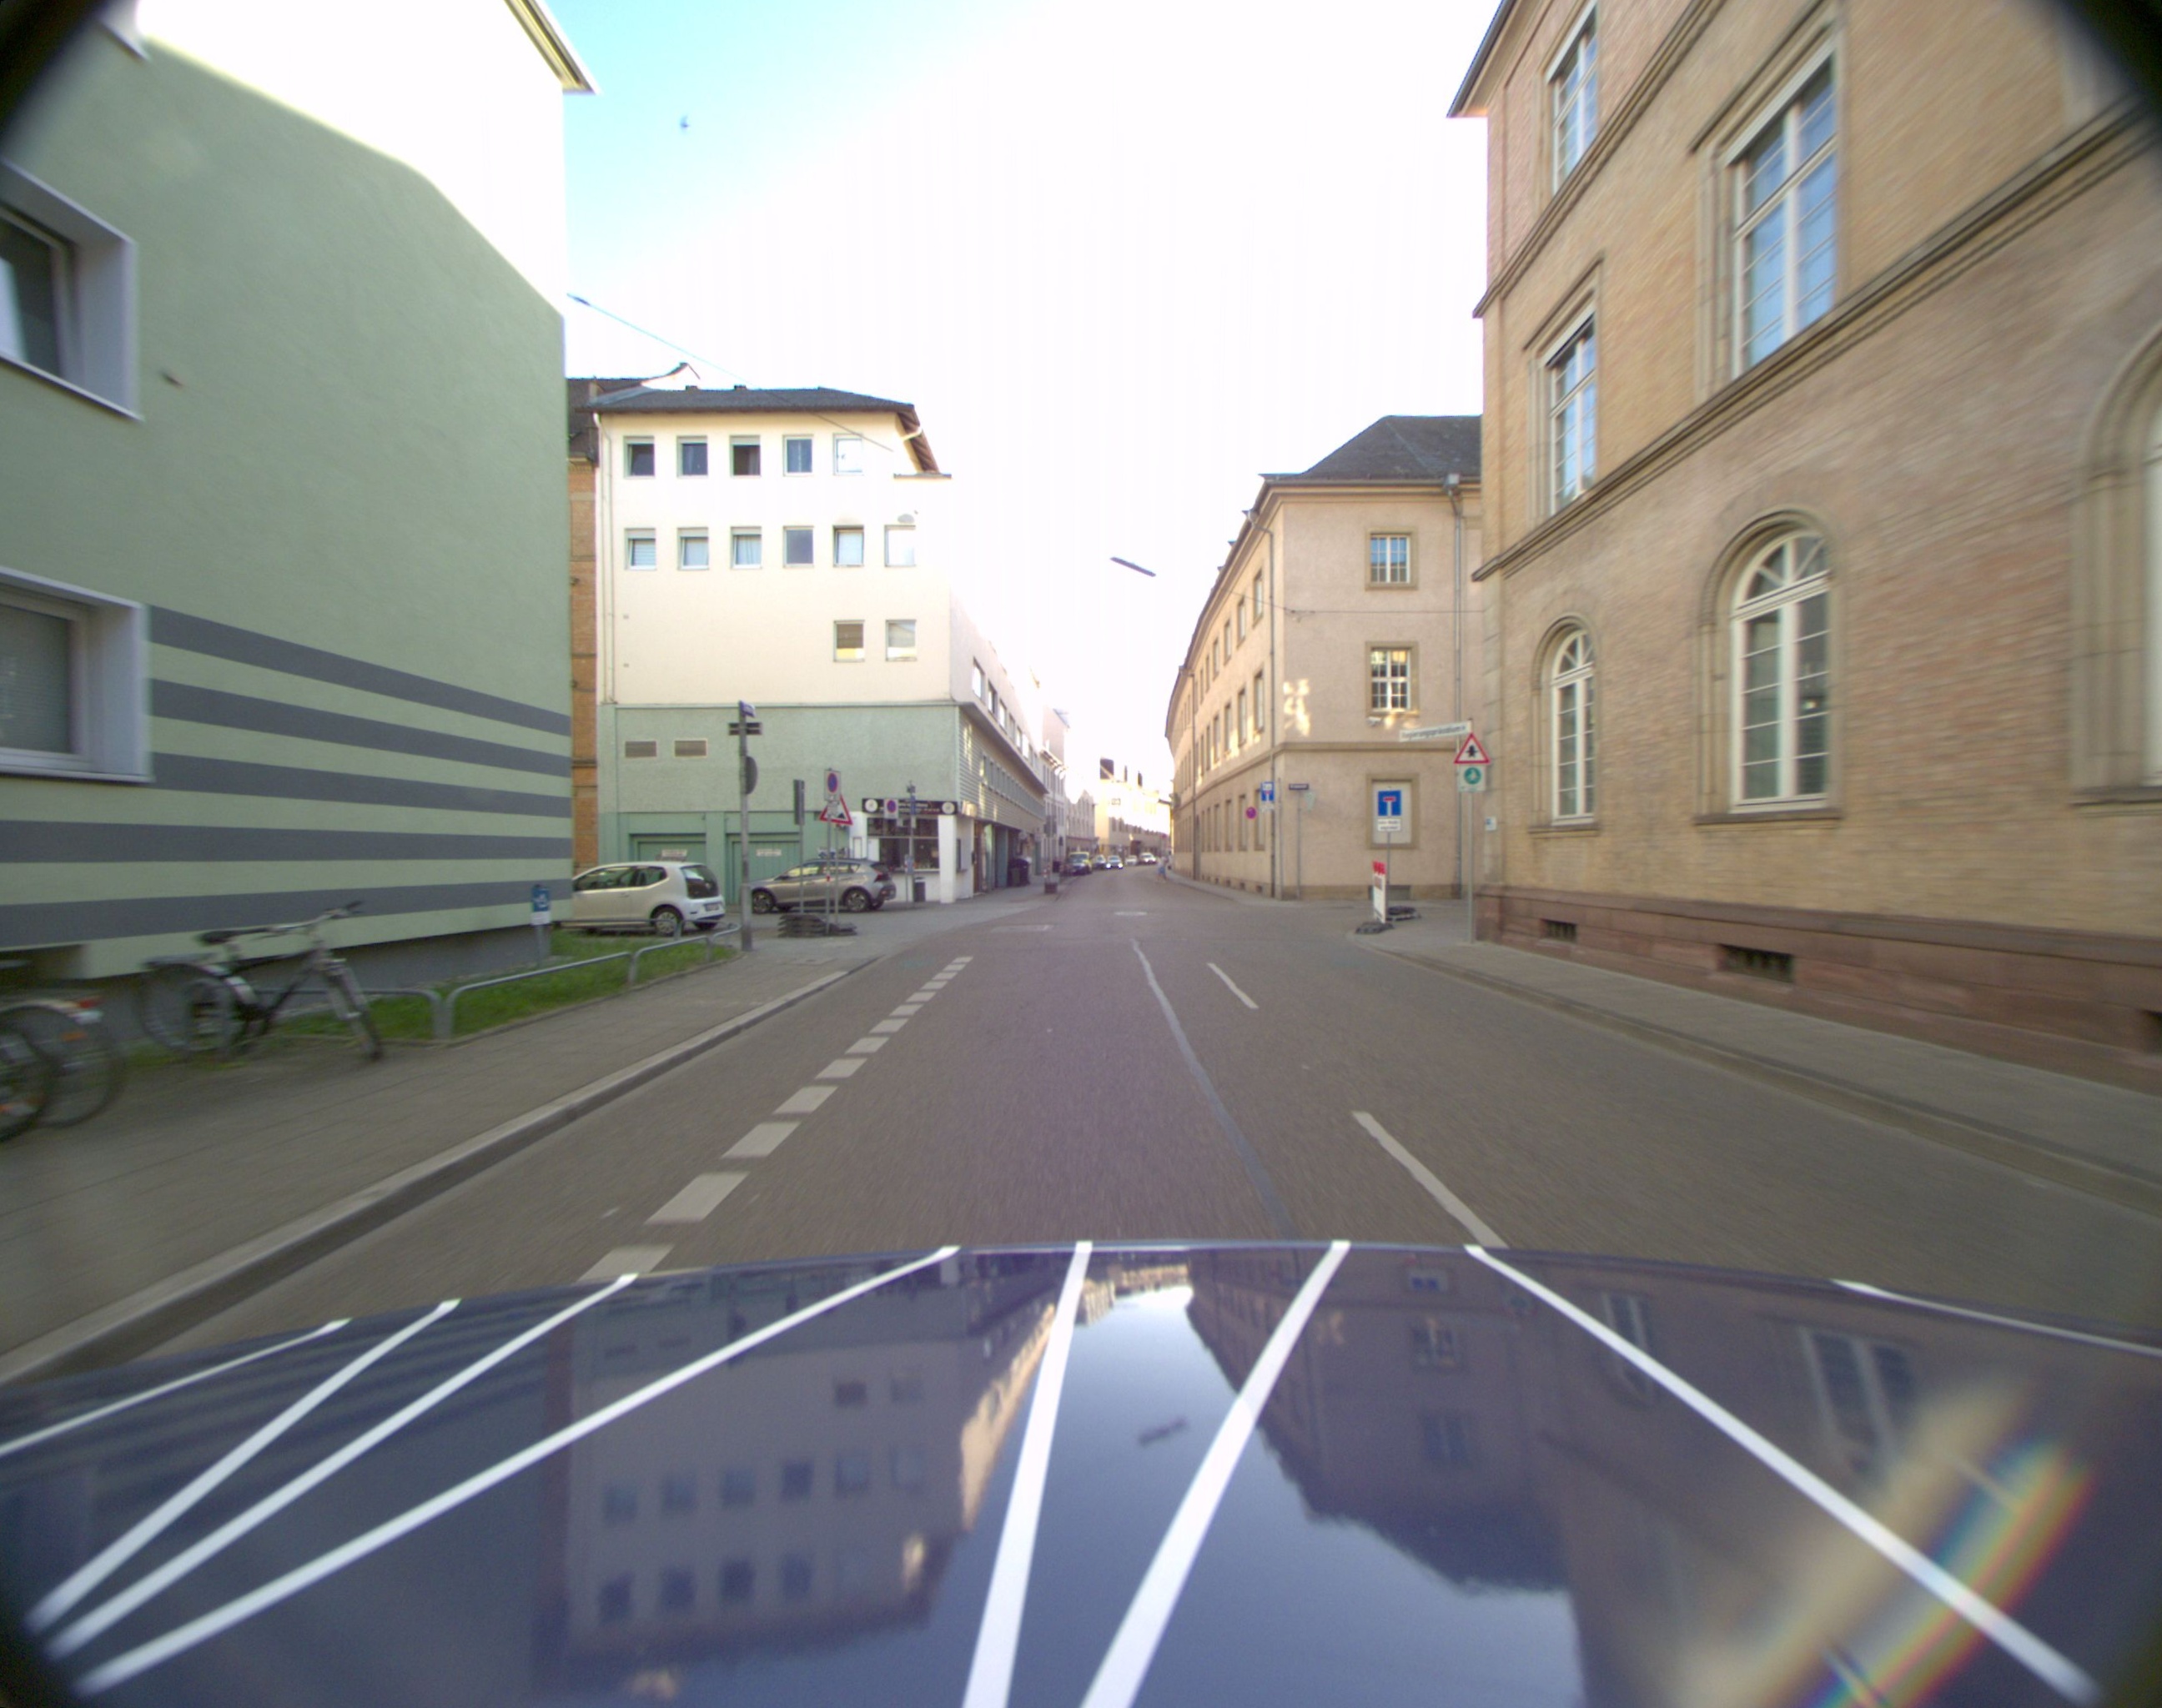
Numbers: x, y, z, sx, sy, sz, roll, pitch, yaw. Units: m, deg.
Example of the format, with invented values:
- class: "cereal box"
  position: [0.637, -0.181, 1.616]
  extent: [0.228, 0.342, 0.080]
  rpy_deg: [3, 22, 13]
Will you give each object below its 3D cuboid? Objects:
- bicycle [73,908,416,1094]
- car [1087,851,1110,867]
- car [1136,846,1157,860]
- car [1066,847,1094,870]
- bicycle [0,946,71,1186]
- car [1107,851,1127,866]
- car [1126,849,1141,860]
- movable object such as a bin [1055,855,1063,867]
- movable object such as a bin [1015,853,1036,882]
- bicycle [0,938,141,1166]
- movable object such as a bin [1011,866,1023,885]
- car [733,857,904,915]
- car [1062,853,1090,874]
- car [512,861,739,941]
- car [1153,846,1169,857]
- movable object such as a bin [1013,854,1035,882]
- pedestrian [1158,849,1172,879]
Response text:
- class: "bicycle"
  position: [-5.810, 0.998, 5.332]
  extent: [1.753, 1.135, 0.552]
  rpy_deg: [2, 0, 0]
- class: "car"
  position: [1.916, 0.508, 80.892]
  extent: [1.828, 1.645, 4.496]
  rpy_deg: [-1, 0, 9]
- class: "car"
  position: [10.103, -0.187, 116.808]
  extent: [1.945, 1.850, 5.200]
  rpy_deg: [-5, -1, 17]
- class: "car"
  position: [-0.036, 0.367, 64.486]
  extent: [1.887, 1.871, 4.847]
  rpy_deg: [-1, 0, 5]
- class: "bicycle"
  position: [-6.020, 1.017, 3.698]
  extent: [1.607, 1.135, 0.237]
  rpy_deg: [2, 1, -8]
- class: "car"
  position: [4.196, 0.507, 88.056]
  extent: [1.828, 1.550, 3.988]
  rpy_deg: [-2, 0, 8]
- class: "car"
  position: [7.743, 0.056, 111.453]
  extent: [1.734, 1.539, 4.003]
  rpy_deg: [-2, 0, 12]
- class: "movable object such as a bin"
  position: [-1.915, 0.608, 66.693]
  extent: [0.607, 1.045, 0.708]
  rpy_deg: [4, 1, 4]
- class: "movable object such as a bin"
  position: [-3.009, 0.699, 41.164]
  extent: [0.983, 1.472, 1.551]
  rpy_deg: [1, 3, 2]
- class: "bicycle"
  position: [-6.049, 1.019, 3.973]
  extent: [1.646, 1.135, 0.283]
  rpy_deg: [2, 1, -8]
- class: "movable object such as a bin"
  position: [-3.256, 1.080, 38.600]
  extent: [0.558, 0.894, 0.523]
  rpy_deg: [1, 3, 2]
- class: "car"
  position: [-7.213, 0.848, 21.180]
  extent: [4.089, 1.473, 1.865]
  rpy_deg: [-1, 1, 0]
- class: "car"
  position: [-0.349, 0.693, 58.547]
  extent: [1.888, 1.480, 4.368]
  rpy_deg: [-2, 0, 3]
- class: "car"
  position: [-9.085, 0.905, 15.375]
  extent: [3.554, 1.473, 1.709]
  rpy_deg: [0, 1, 1]
- class: "car"
  position: [14.033, -0.443, 132.952]
  extent: [1.774, 1.574, 3.861]
  rpy_deg: [-5, -1, 18]
- class: "movable object such as a bin"
  position: [-2.955, 0.699, 39.521]
  extent: [0.983, 1.377, 1.320]
  rpy_deg: [1, 3, 2]
- class: "pedestrian"
  position: [4.701, 0.550, 42.542]
  extent: [0.694, 1.660, 0.875]
  rpy_deg: [-3, 1, 4]
